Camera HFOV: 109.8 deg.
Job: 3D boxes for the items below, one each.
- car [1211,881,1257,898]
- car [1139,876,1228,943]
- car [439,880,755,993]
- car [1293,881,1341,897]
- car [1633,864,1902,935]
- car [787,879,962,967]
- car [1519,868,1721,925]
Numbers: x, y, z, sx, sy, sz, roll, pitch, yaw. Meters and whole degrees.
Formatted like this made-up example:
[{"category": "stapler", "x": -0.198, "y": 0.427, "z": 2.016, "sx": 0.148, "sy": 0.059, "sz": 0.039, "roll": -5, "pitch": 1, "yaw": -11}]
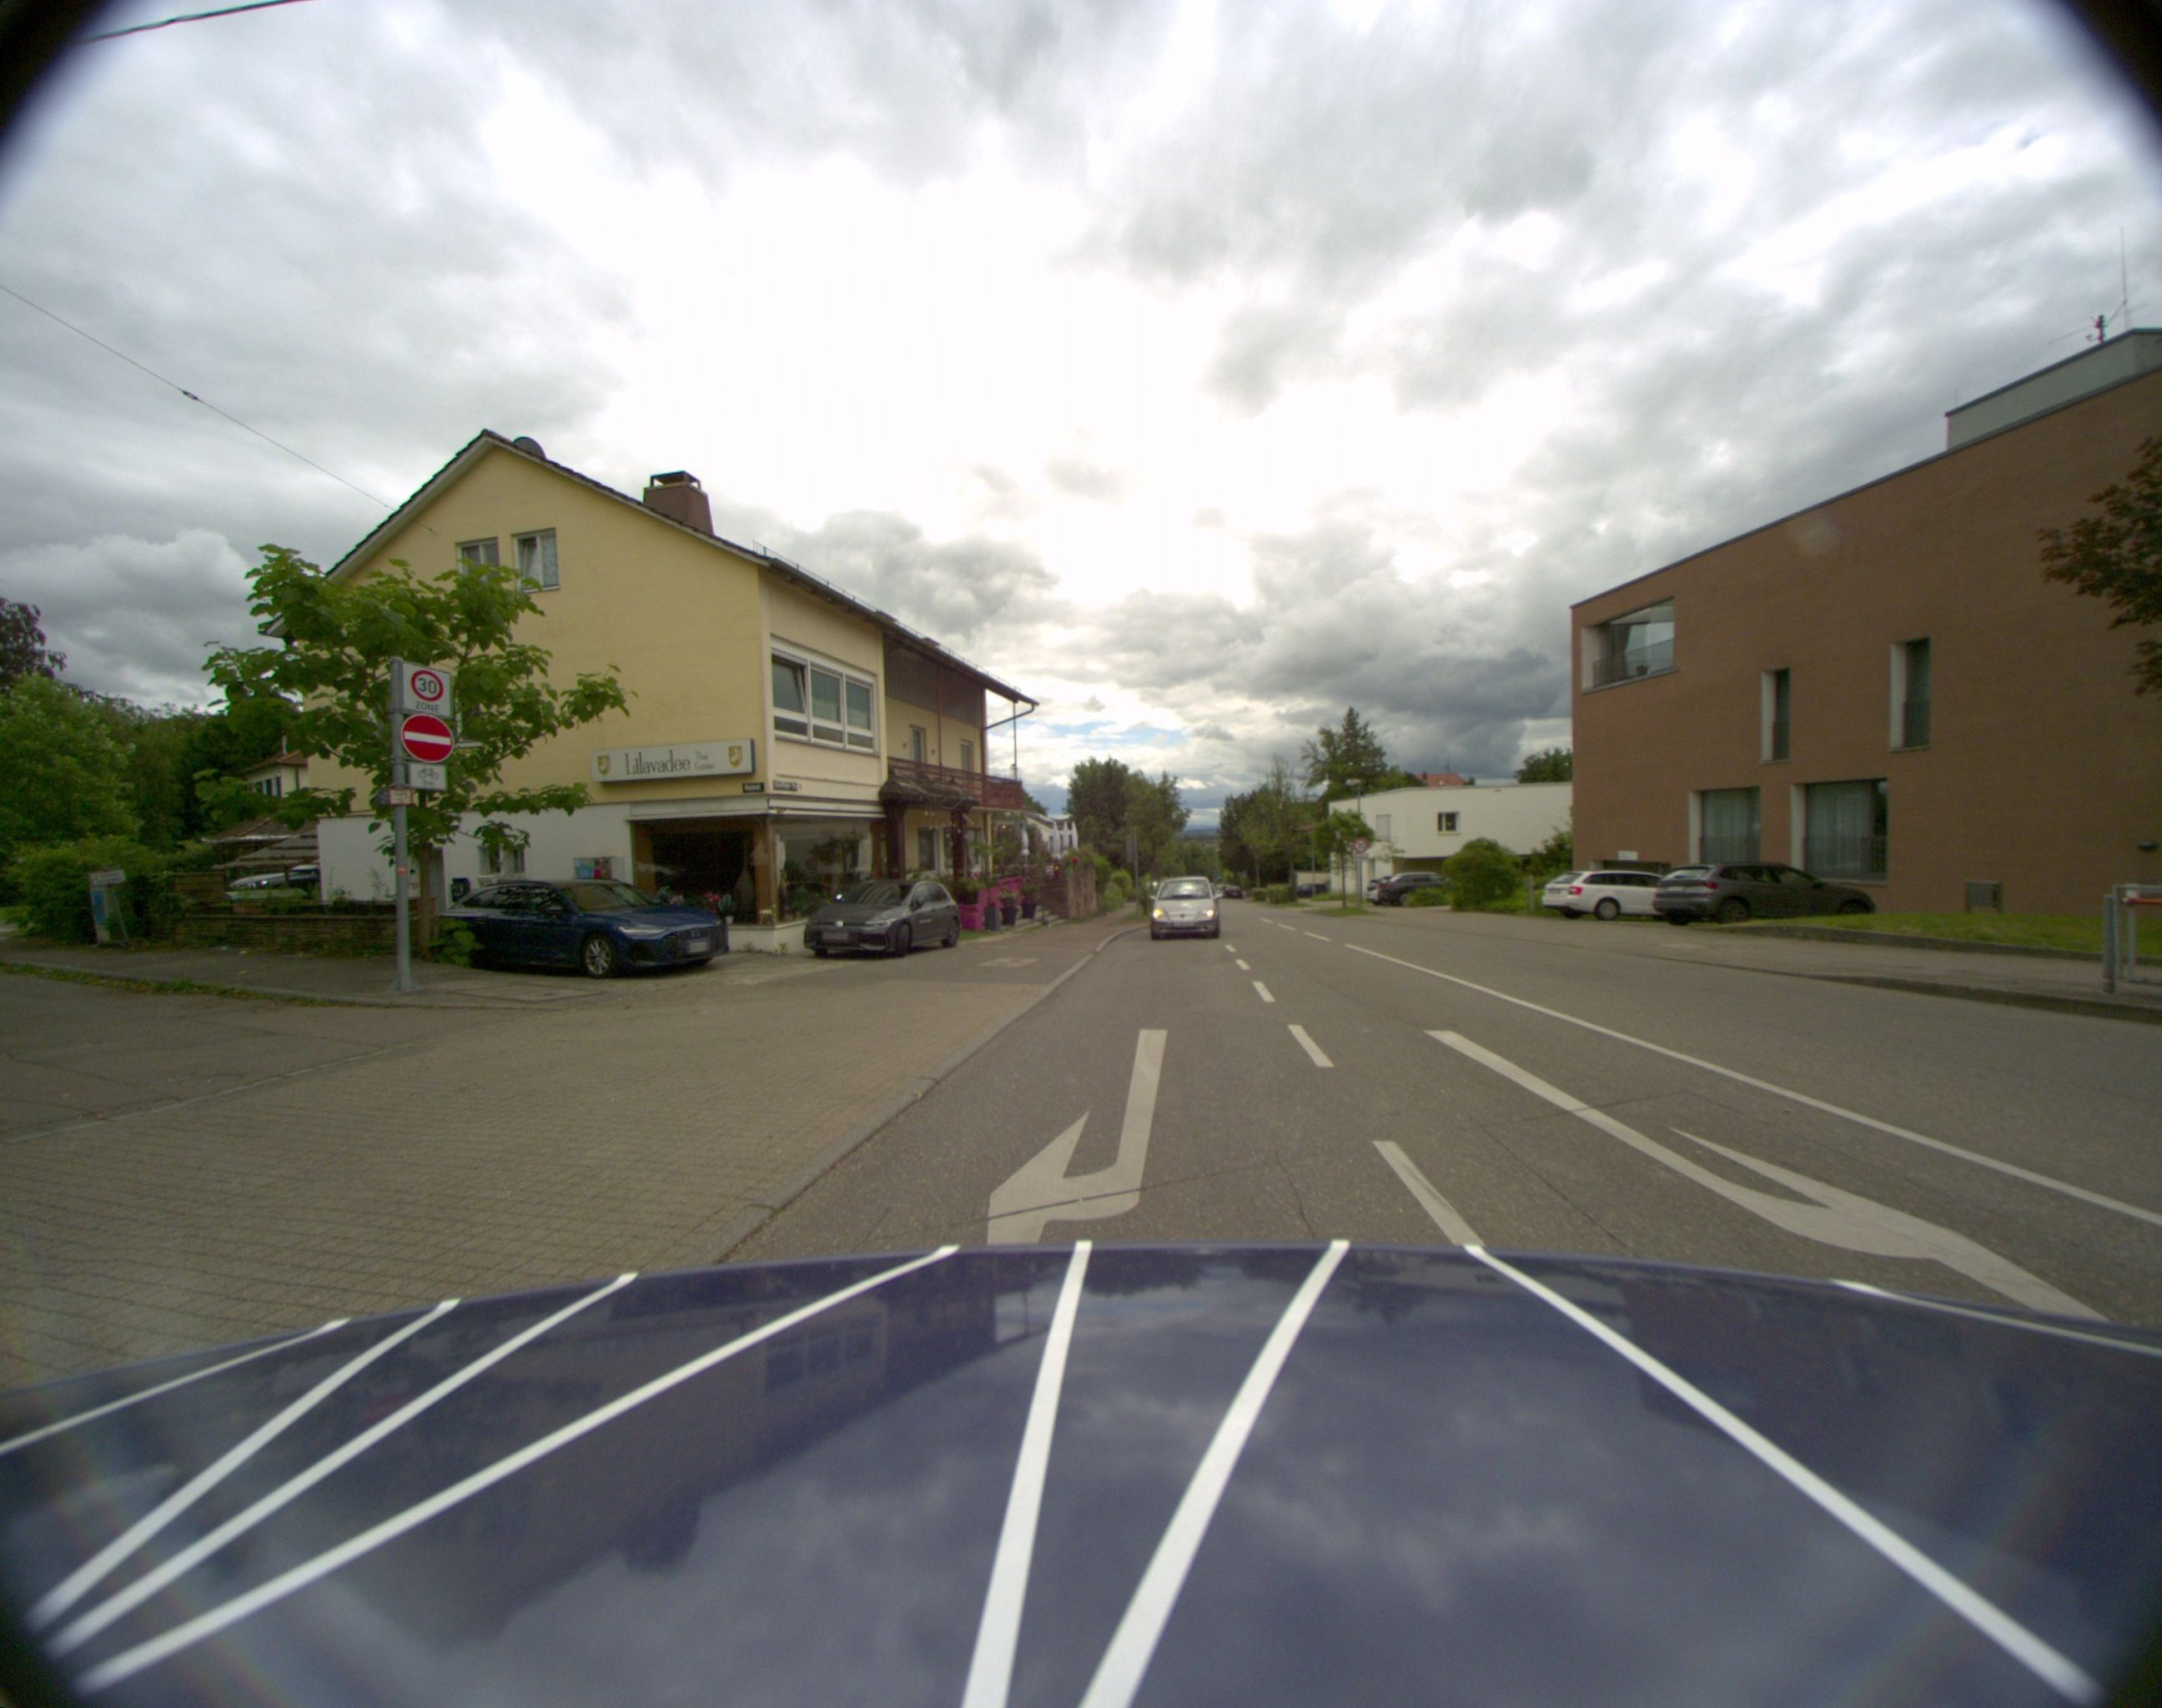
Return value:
[{"category": "car", "x": 16.105, "y": 3.730, "z": 80.102, "sx": 4.432, "sy": 1.549, "sz": 2.000, "roll": -1, "pitch": 0, "yaw": 2}, {"category": "car", "x": 2.854, "y": 1.459, "z": 20.425, "sx": 1.997, "sy": 1.585, "sz": 4.006, "roll": -2, "pitch": -3, "yaw": 12}, {"category": "car", "x": -7.524, "y": 1.175, "z": 11.891, "sx": 4.219, "sy": 1.519, "sz": 1.935, "roll": -1, "pitch": -2, "yaw": 19}, {"category": "car", "x": 24.340, "y": 3.609, "z": 78.493, "sx": 4.432, "sy": 1.548, "sz": 2.000, "roll": -1, "pitch": 0, "yaw": 2}, {"category": "car", "x": 15.905, "y": 1.023, "z": 17.819, "sx": 4.432, "sy": 1.548, "sz": 2.000, "roll": -1, "pitch": 0, "yaw": 2}, {"category": "car", "x": -3.874, "y": 1.289, "z": 14.991, "sx": 1.872, "sy": 1.483, "sz": 3.887, "roll": -1, "pitch": -3, "yaw": 9}, {"category": "car", "x": 15.589, "y": 1.206, "z": 22.173, "sx": 4.432, "sy": 1.548, "sz": 2.000, "roll": -1, "pitch": 0, "yaw": 2}]
